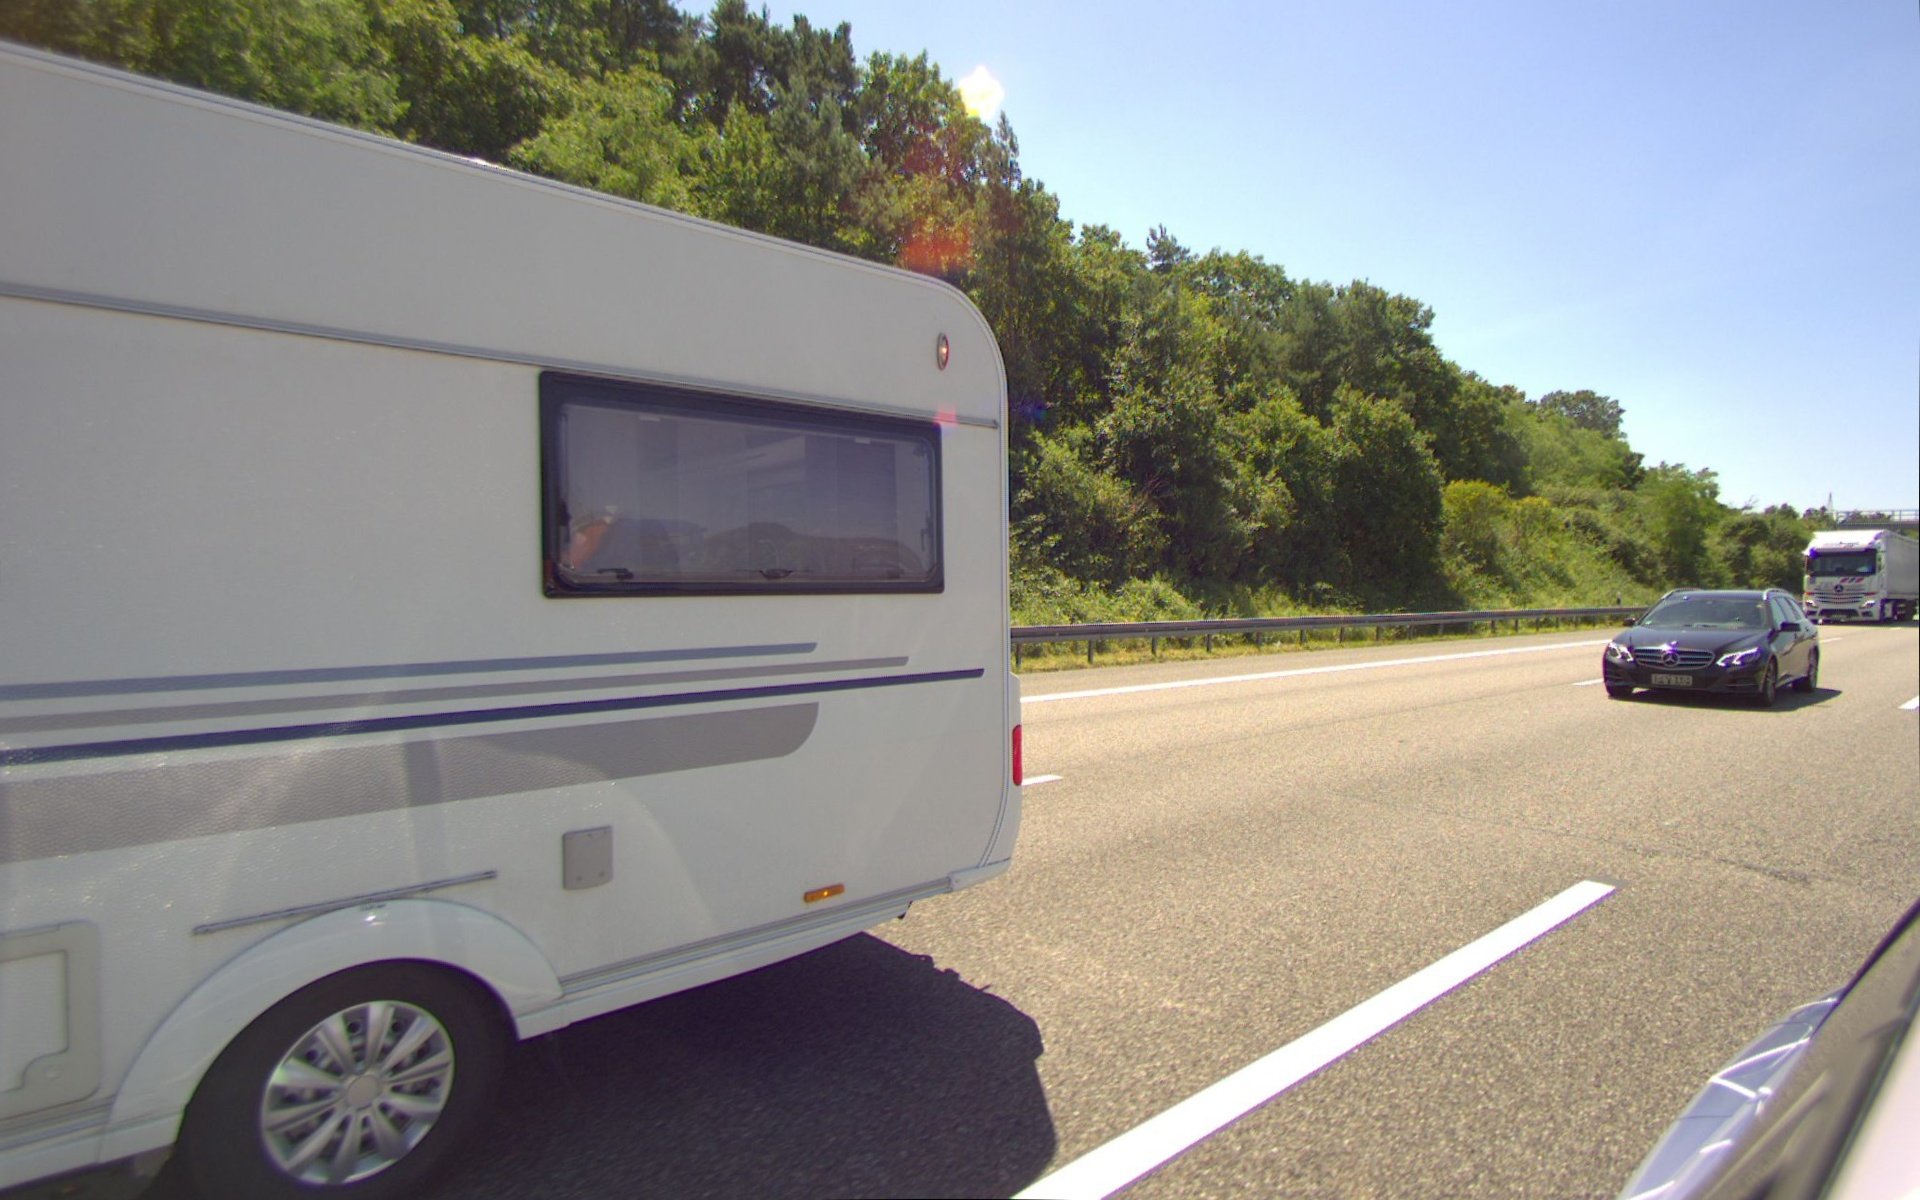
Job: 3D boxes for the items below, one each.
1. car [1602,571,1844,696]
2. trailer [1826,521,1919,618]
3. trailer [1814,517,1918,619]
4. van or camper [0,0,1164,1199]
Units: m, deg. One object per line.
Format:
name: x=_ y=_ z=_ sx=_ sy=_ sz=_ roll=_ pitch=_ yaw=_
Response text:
car: x=11.038 y=0.401 z=14.505 sx=4.655 sy=1.524 sz=1.844 roll=0 pitch=0 yaw=-41
trailer: x=44.668 y=-1.402 z=48.849 sx=12.964 sy=4.154 sz=2.732 roll=-1 pitch=1 yaw=-42
trailer: x=39.925 y=-1.370 z=44.522 sx=6.673 sy=4.154 sz=2.717 roll=-1 pitch=1 yaw=-42
van or camper: x=-2.286 y=0.091 z=2.884 sx=6.243 sy=2.709 sz=2.441 roll=-1 pitch=0 yaw=-43
